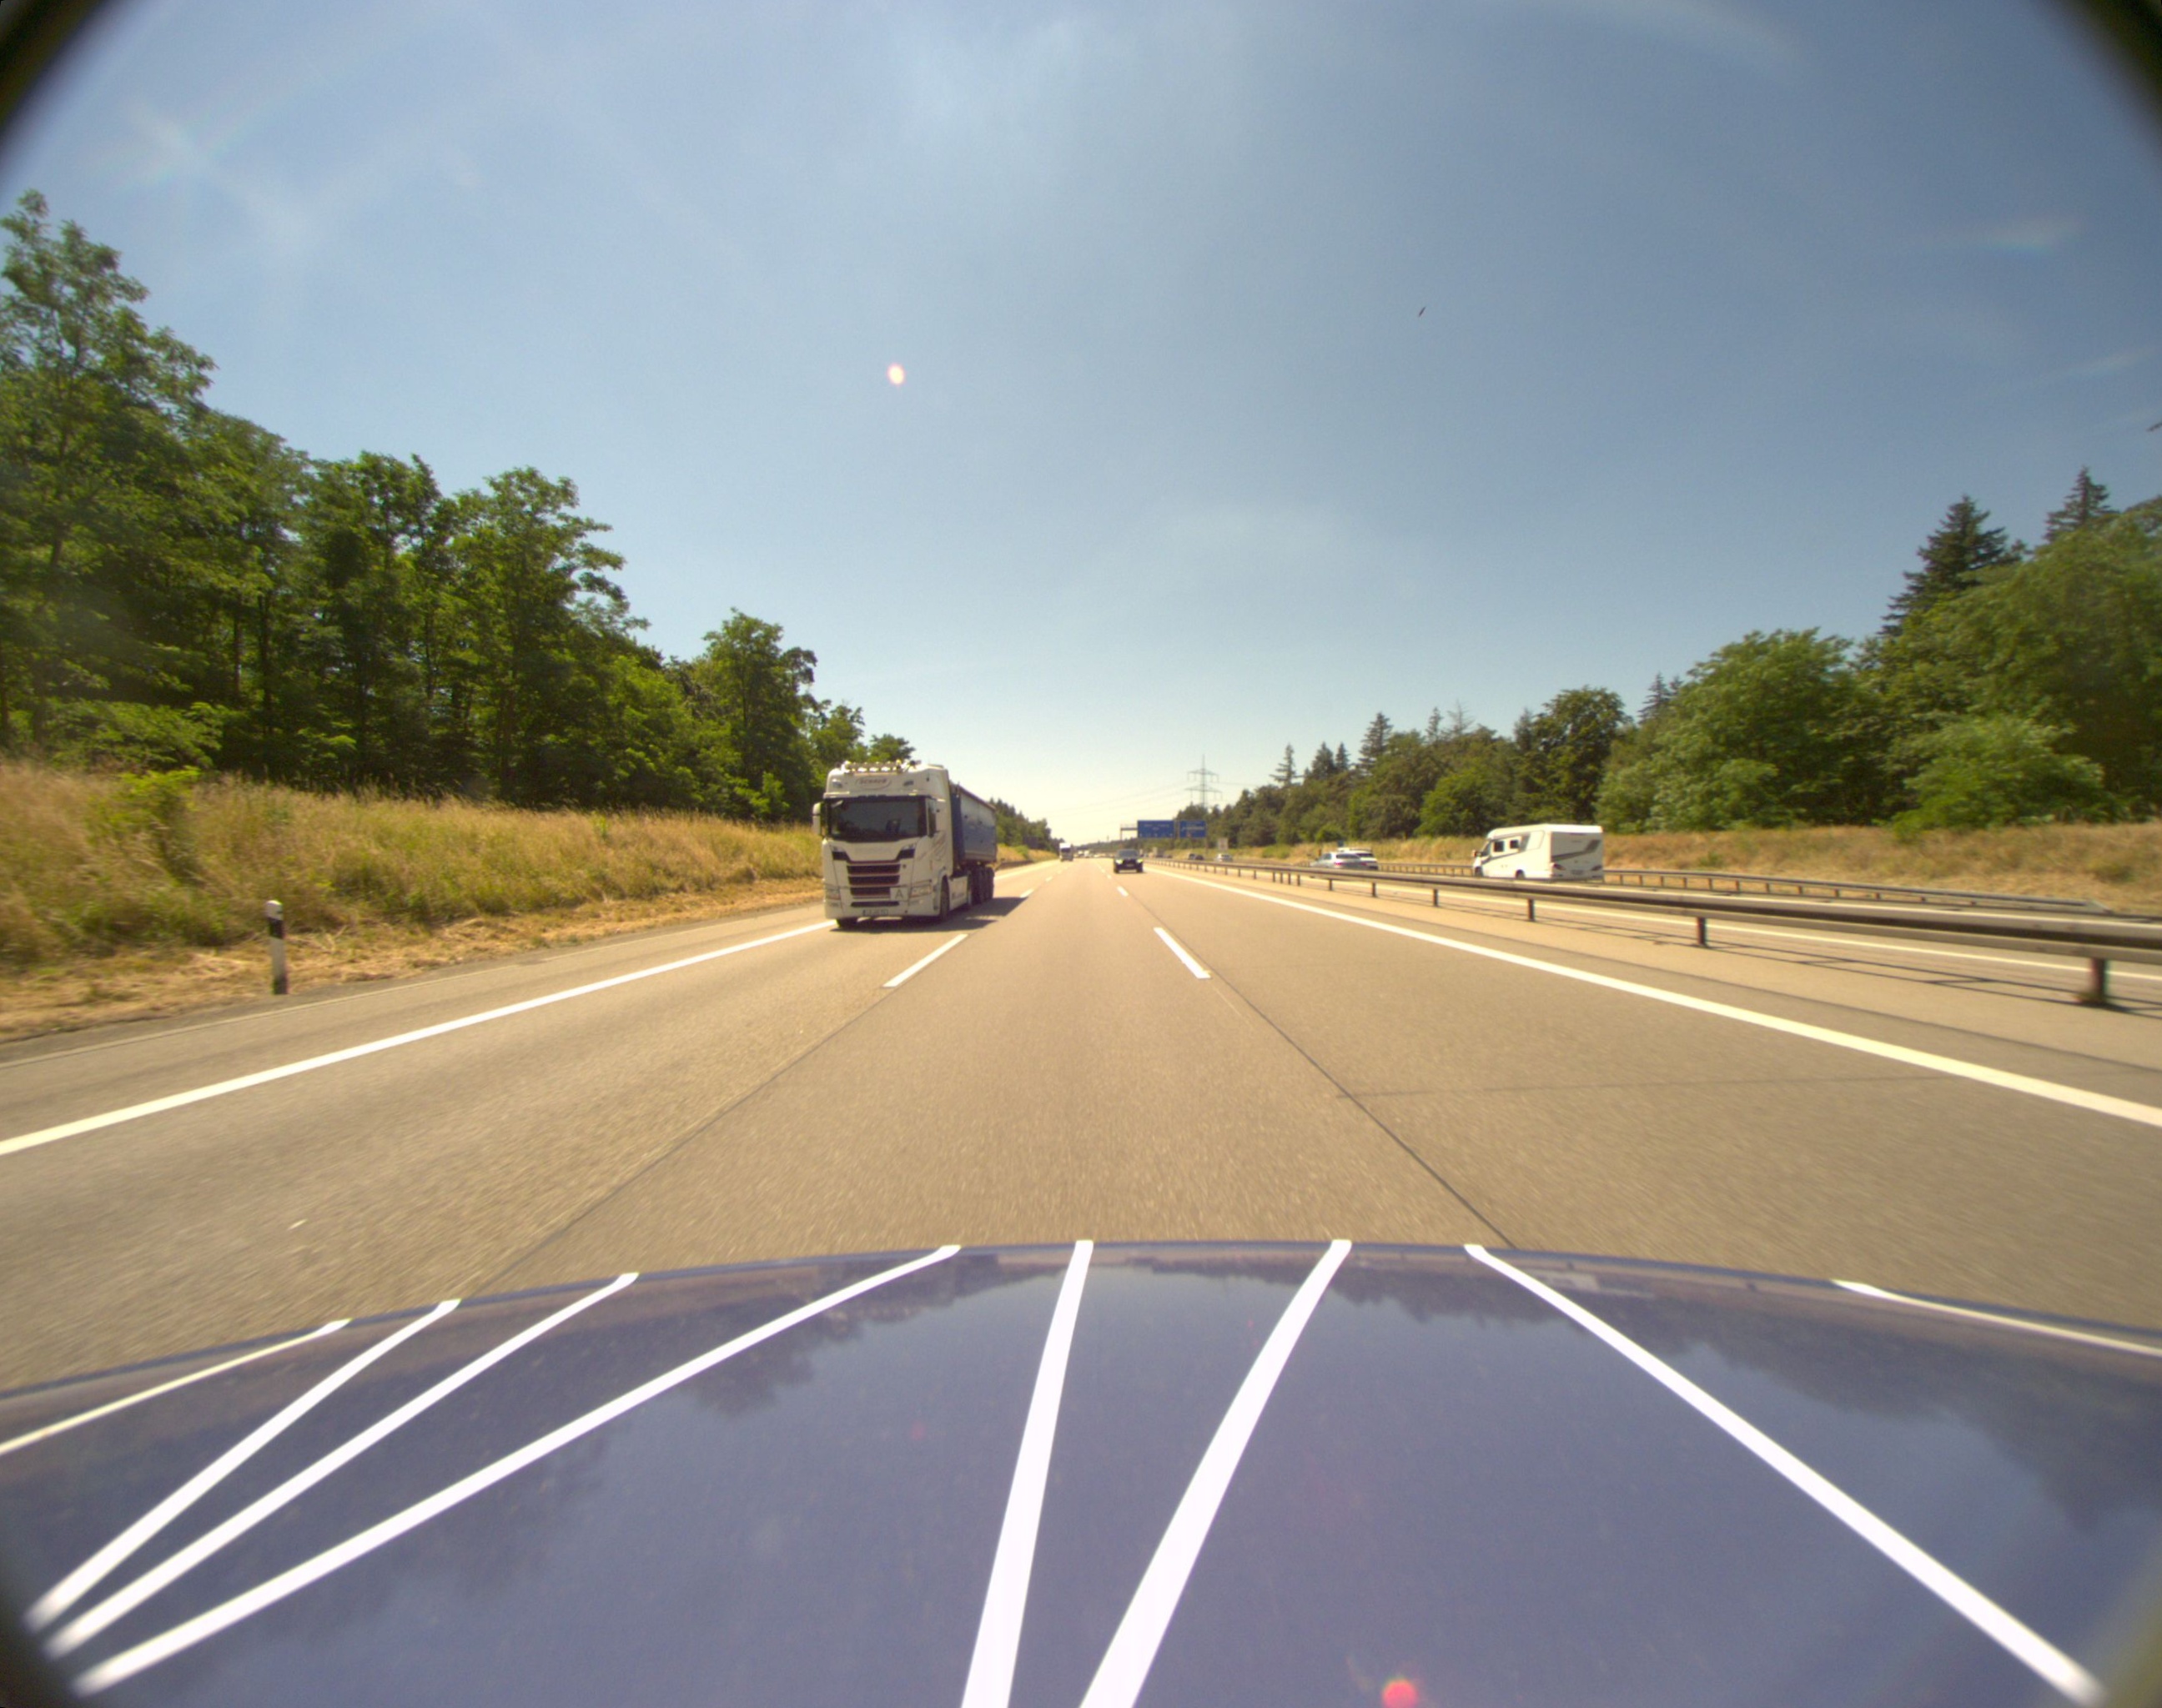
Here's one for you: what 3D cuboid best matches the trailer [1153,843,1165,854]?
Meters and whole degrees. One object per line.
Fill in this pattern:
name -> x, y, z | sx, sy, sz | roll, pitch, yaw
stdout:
trailer -> 27.922, -1.896, 271.652 | 3.176, 3.908, 13.964 | -2, 0, 2

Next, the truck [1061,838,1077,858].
truck -> -2.577, -1.304, 167.207 | 2.979, 4.117, 5.350 | -1, 0, 3

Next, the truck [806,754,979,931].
truck -> -4.463, -0.237, 19.327 | 2.691, 3.736, 5.944 | -1, 0, 1

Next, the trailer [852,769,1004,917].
trailer -> -4.399, -0.260, 24.047 | 2.744, 3.736, 9.109 | -1, 0, 1

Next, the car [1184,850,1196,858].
car -> 25.208, -0.110, 176.073 | 1.998, 1.817, 4.642 | 1, 0, 0

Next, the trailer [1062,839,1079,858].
trailer -> -2.321, -1.271, 172.744 | 2.982, 4.117, 11.698 | -1, 0, 3

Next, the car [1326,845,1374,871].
car -> 21.284, 0.262, 60.401 | 1.998, 1.941, 5.244 | 1, 0, 1

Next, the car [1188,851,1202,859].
car -> 23.302, 0.150, 155.306 | 1.998, 1.694, 4.979 | 1, 0, 0

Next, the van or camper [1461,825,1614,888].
van or camper -> 20.845, 0.084, 35.348 | 2.468, 2.560, 7.769 | 1, 0, 1

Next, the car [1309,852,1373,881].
car -> 13.149, 0.588, 38.703 | 1.841, 1.365, 4.352 | 1, 0, 1

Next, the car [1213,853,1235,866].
car -> 18.065, 0.715, 96.373 | 1.856, 1.518, 5.204 | 0, 0, 1

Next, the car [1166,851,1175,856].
car -> 27.036, -0.238, 229.724 | 1.931, 1.455, 4.942 | 0, 0, 1

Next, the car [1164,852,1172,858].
car -> 28.557, 0.255, 248.688 | 2.091, 1.456, 4.939 | 0, 4, 1

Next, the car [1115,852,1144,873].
car -> 3.499, 0.616, 55.410 | 1.899, 1.417, 4.261 | -2, 0, 1

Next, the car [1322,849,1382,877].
car -> 17.231, 0.514, 48.602 | 1.998, 1.684, 5.244 | 1, 0, 1
